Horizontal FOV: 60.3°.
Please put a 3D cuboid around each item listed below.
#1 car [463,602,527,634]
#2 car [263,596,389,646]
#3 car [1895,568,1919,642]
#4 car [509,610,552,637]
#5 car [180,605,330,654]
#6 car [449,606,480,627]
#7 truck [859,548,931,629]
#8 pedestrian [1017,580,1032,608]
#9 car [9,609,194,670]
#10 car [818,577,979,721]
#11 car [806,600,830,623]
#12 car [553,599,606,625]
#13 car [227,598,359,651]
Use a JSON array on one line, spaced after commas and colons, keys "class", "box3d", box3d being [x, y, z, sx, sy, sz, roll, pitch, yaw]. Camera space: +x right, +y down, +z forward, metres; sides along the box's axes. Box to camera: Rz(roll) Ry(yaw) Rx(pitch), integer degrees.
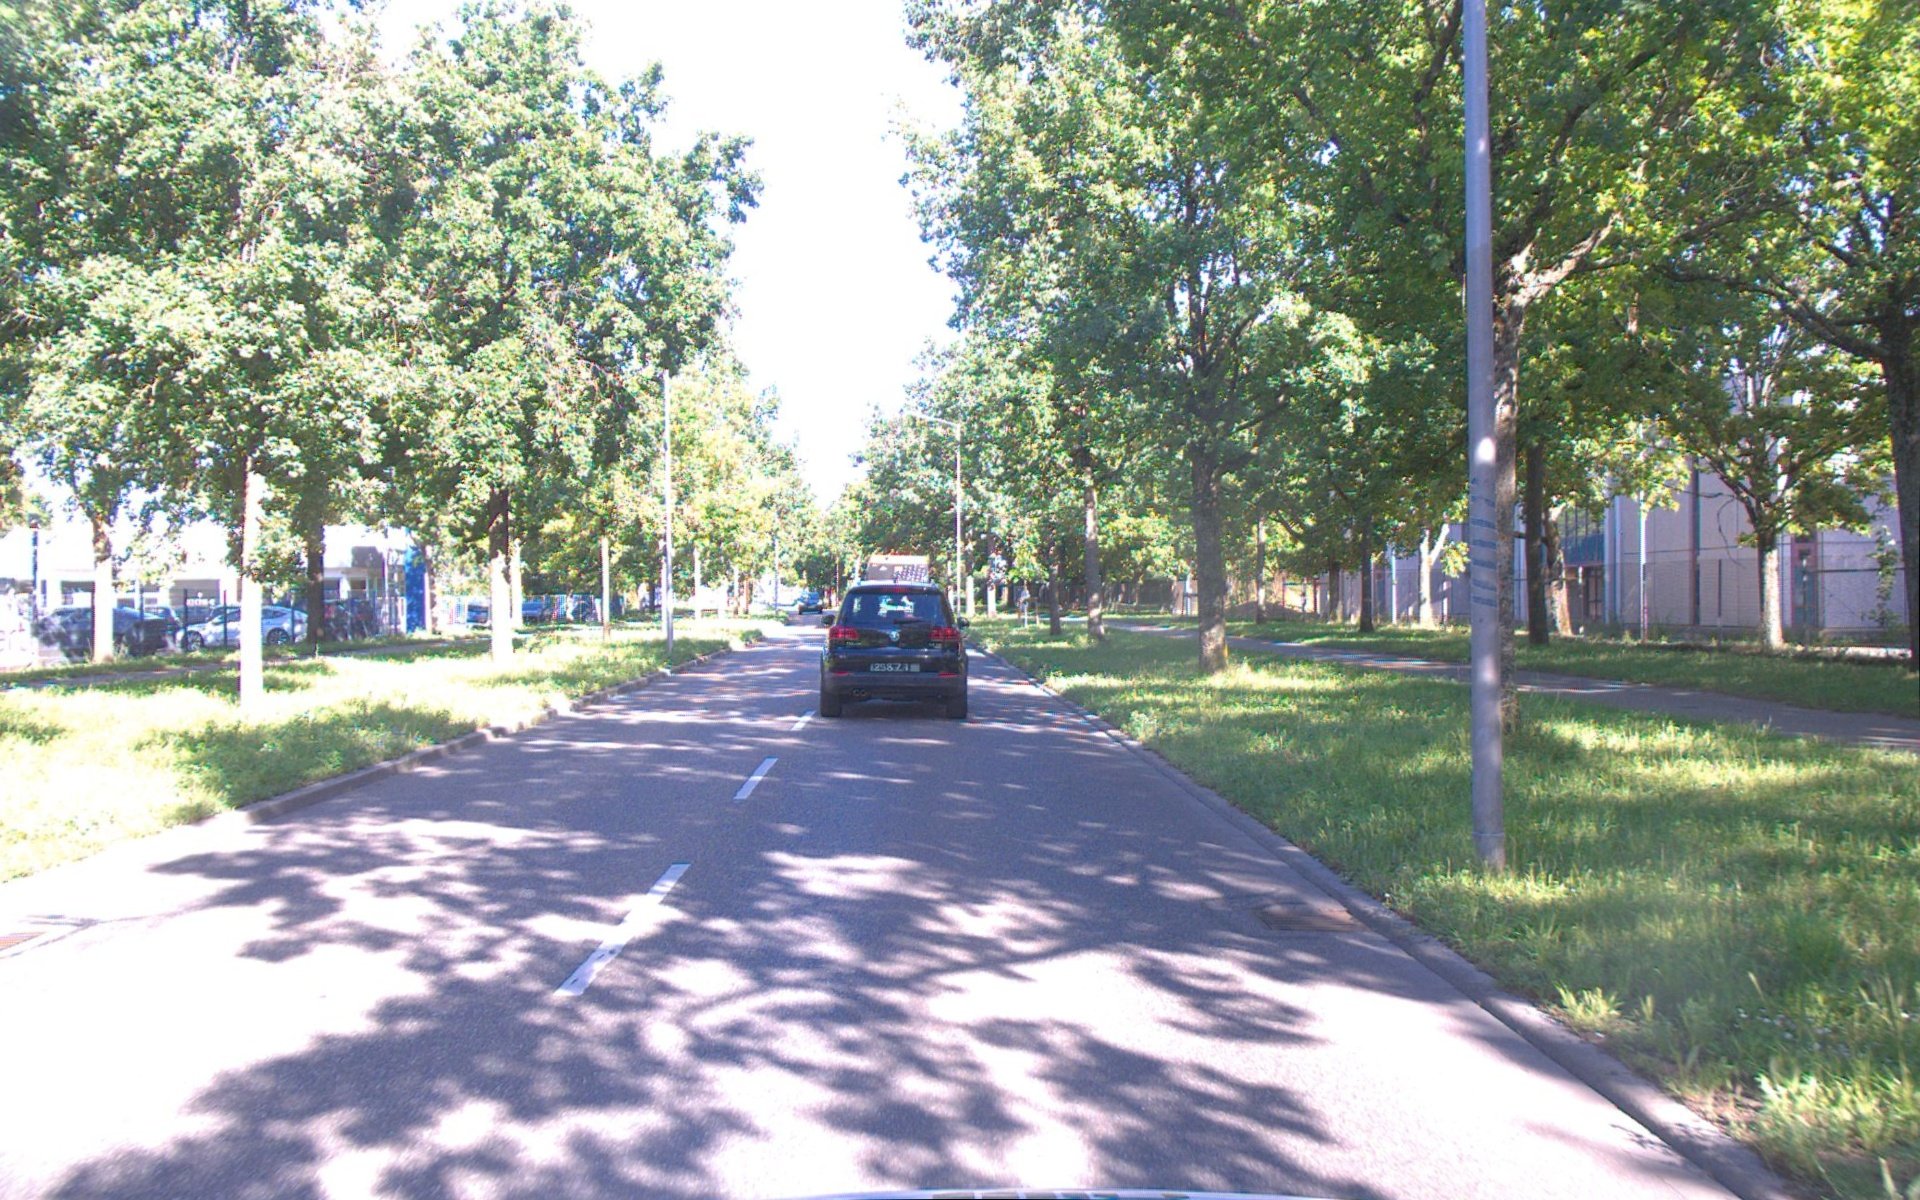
[{"class": "car", "box3d": [-21.966, 0.839, 78.202, 2.512, 1.495, 1.427, -1, 0, 12]}, {"class": "car", "box3d": [-23.695, 0.788, 61.902, 3.906, 1.772, 1.999, 1, 0, -2]}, {"class": "car", "box3d": [27.382, 0.085, 43.291, 4.854, 1.917, 1.997, -1, 0, -8]}, {"class": "car", "box3d": [-27.897, 1.522, 107.604, 1.955, 1.625, 5.008, 1, 0, -6]}, {"class": "car", "box3d": [-23.810, 0.991, 55.988, 4.224, 1.545, 1.861, 1, 0, -2]}, {"class": "car", "box3d": [-40.681, 1.332, 135.955, 1.958, 1.594, 4.871, 1, 0, -11]}, {"class": "truck", "box3d": [-2.919, -0.466, 72.039, 2.464, 3.300, 8.139, -1, 0, -7]}, {"class": "pedestrian", "box3d": [3.878, -0.339, 99.407, 0.598, 1.659, 0.716, -3, 1, -15]}, {"class": "car", "box3d": [-23.523, 1.066, 45.438, 3.907, 1.545, 2.197, 1, 0, -2]}, {"class": "car", "box3d": [-0.888, 0.579, 21.418, 1.748, 1.662, 3.994, 1, 0, -7]}, {"class": "car", "box3d": [-11.014, 0.879, 128.259, 1.733, 1.701, 4.195, -2, 0, -5]}, {"class": "car", "box3d": [-29.052, 0.913, 126.401, 3.918, 1.833, 1.994, 1, 0, -13]}, {"class": "car", "box3d": [-23.759, 0.869, 58.992, 3.907, 1.776, 1.861, 1, 0, -2]}]
